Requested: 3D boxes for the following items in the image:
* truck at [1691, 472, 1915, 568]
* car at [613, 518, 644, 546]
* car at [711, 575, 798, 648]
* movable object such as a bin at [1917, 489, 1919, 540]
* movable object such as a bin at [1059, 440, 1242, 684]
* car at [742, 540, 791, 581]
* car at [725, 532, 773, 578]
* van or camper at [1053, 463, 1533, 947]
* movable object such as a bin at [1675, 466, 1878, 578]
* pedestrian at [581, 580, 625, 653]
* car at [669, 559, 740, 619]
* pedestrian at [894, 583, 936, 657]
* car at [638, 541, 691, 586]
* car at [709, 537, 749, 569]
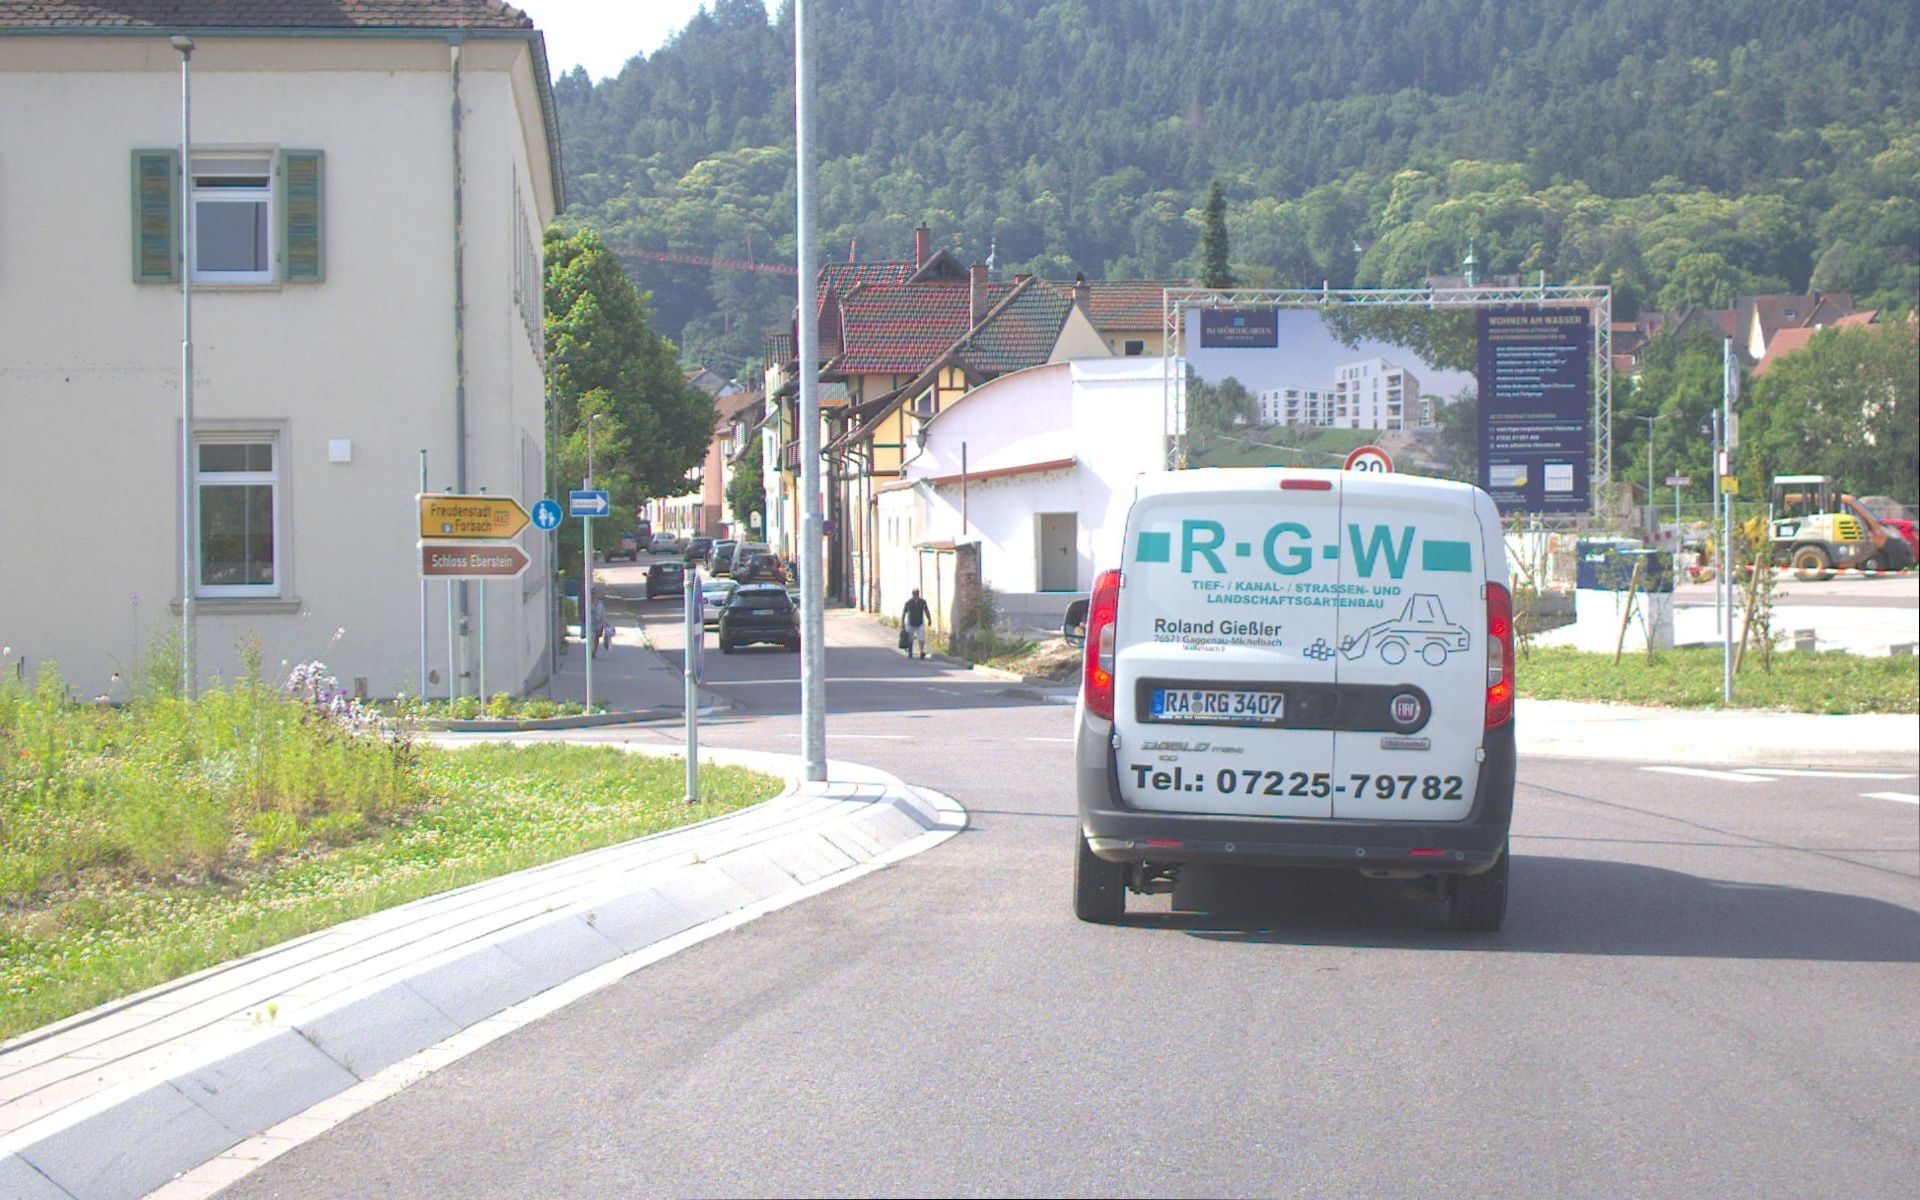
[{"bbox_3d":[21.559,-2.033,87.910,5.320,2.258,2.217,-2,0,20],"label":"truck"},{"bbox_3d":[-20.235,-4.169,209.858,1.810,1.591,3.928,2,2,-6],"label":"car"},{"bbox_3d":[-5.037,0.271,83.946,1.810,1.591,3.928,2,2,-7],"label":"car"},{"bbox_3d":[24.119,-2.061,83.705,1.296,1.263,1.320,2,2,4],"label":"movable object such as a bin"},{"bbox_3d":[3.163,-0.654,59.048,2.295,3.841,7.799,2,1,-2],"label":"movable object such as a bin"},{"bbox_3d":[-8.079,-1.658,142.991,1.810,1.591,3.928,2,2,-6],"label":"car"},{"bbox_3d":[-9.395,-2.022,152.973,1.871,2.007,4.001,0,1,-7],"label":"car"},{"bbox_3d":[1.523,0.373,15.253,1.828,1.838,4.187,0,1,7],"label":"van or camper"},{"bbox_3d":[20.098,-1.901,84.605,4.616,2.561,1.923,-2,0,20],"label":"movable object such as a bin"},{"bbox_3d":[-8.073,0.369,77.701,0.957,1.625,0.758,0,0,-6],"label":"pedestrian"},{"bbox_3d":[-7.456,-0.339,99.951,1.810,1.591,3.928,2,2,-7],"label":"car"},{"bbox_3d":[-1.046,0.461,79.961,0.888,1.677,0.718,1,0,-6],"label":"pedestrian"},{"bbox_3d":[-11.402,-1.424,132.553,1.810,1.591,3.928,2,2,-7],"label":"car"},{"bbox_3d":[-11.386,-2.343,169.439,1.669,1.503,4.001,-1,2,-8],"label":"car"}]
